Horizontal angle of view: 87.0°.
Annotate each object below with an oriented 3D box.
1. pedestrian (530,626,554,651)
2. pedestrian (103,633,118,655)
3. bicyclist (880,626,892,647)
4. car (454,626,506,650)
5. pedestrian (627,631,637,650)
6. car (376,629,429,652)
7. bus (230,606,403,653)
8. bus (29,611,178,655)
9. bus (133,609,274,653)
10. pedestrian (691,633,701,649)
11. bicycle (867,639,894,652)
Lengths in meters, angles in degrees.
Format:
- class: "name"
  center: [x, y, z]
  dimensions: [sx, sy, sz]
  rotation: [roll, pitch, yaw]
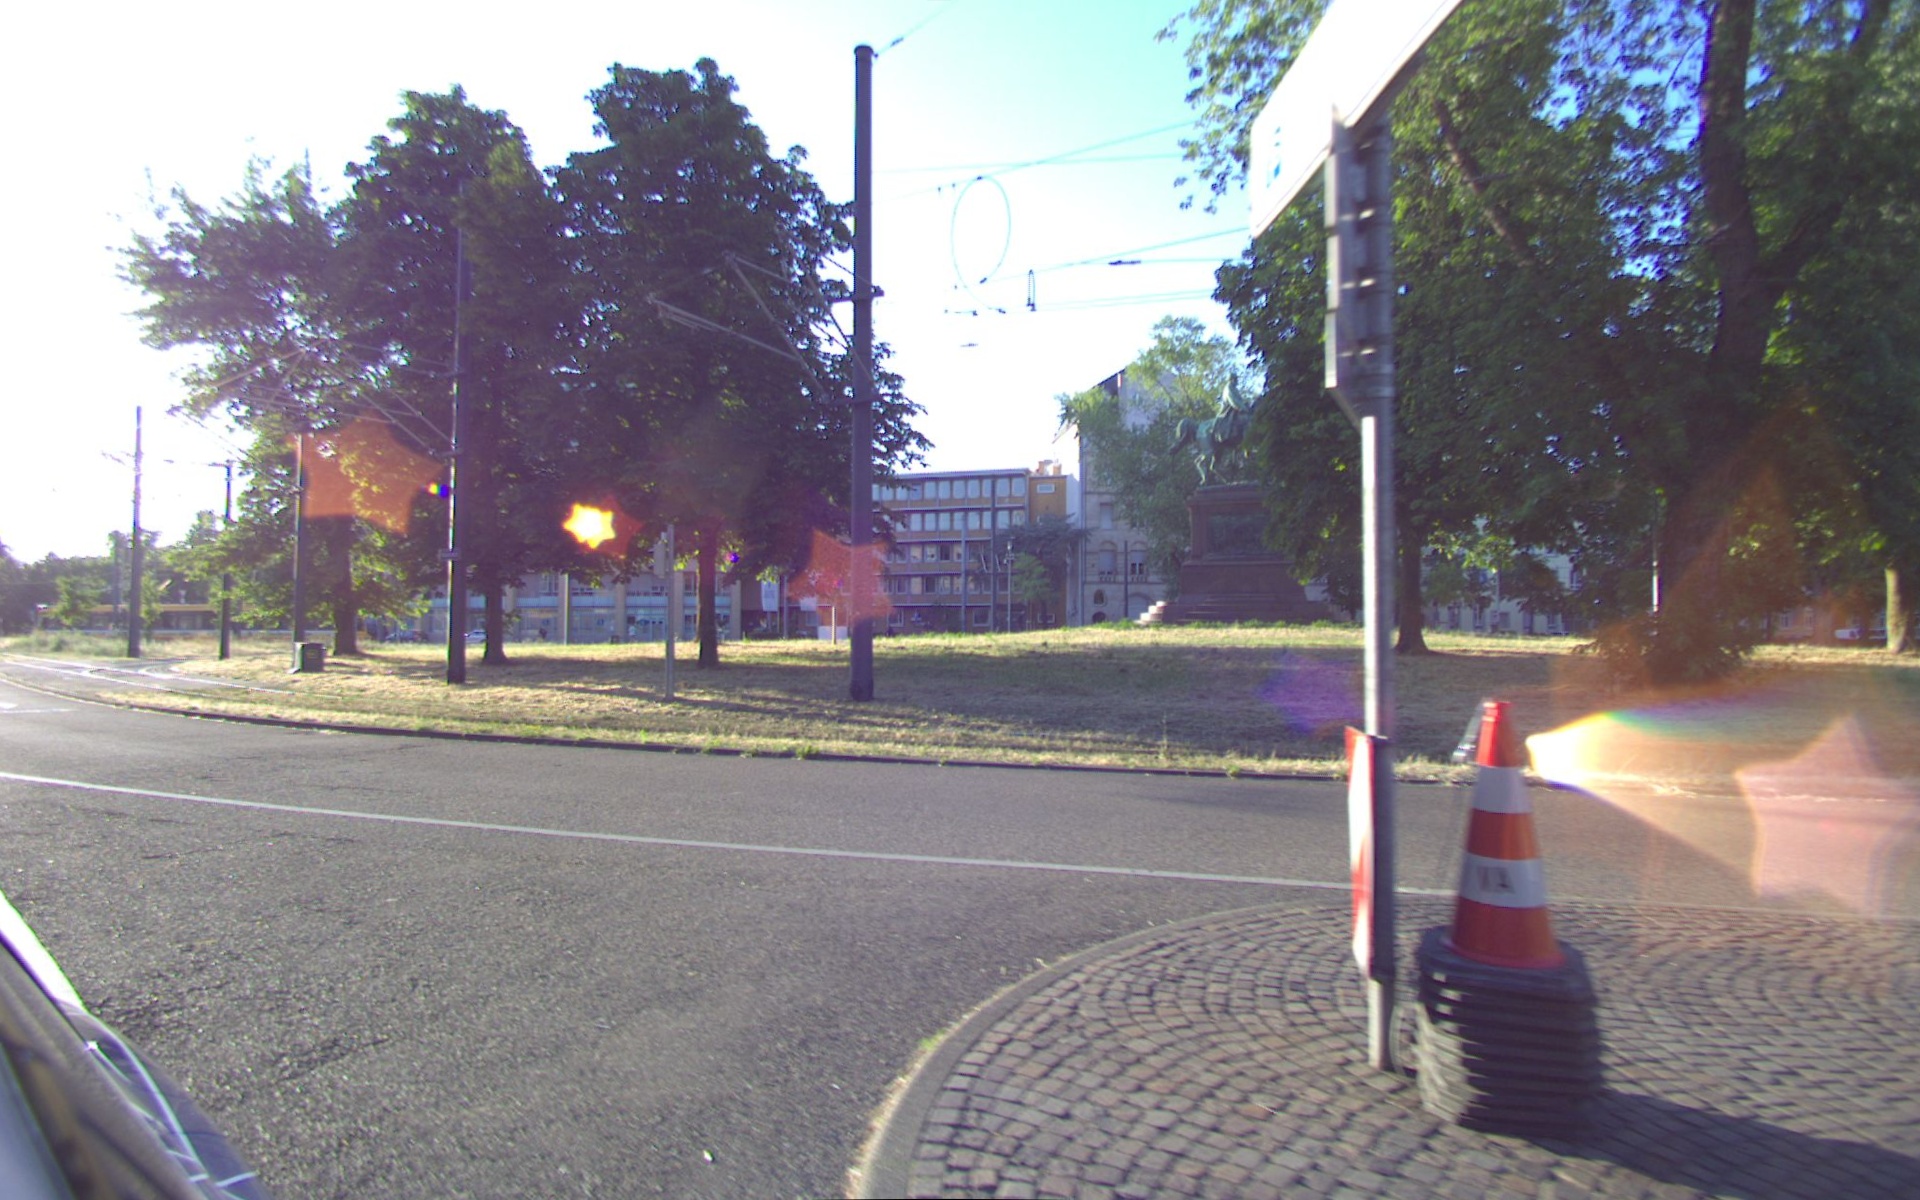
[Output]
- class: "pedestrian"
  center: [-35.953, 3.315, 86.979]
  dimensions: [1.619, 2.110, 1.054]
  rotation: [-2, -1, 16]
- class: "pedestrian"
  center: [-58.202, 3.003, 69.326]
  dimensions: [0.698, 1.470, 0.664]
  rotation: [-2, -2, 36]
- class: "bicyclist"
  center: [-6.045, 2.984, 82.681]
  dimensions: [0.884, 1.703, 0.954]
  rotation: [-1, -1, -5]
- class: "car"
  center: [-43.343, 3.433, 91.360]
  dimensions: [3.868, 2.029, 1.849]
  rotation: [-1, -1, 11]
- class: "pedestrian"
  center: [-29.446, 3.664, 90.810]
  dimensions: [0.614, 1.705, 0.527]
  rotation: [-2, -1, 23]
- class: "car"
  center: [-51.387, 3.719, 93.292]
  dimensions: [3.956, 2.029, 1.905]
  rotation: [-1, -1, 11]
- class: "bus"
  center: [-50.970, 2.333, 80.118]
  dimensions: [13.595, 3.388, 3.740]
  rotation: [-2, -1, 17]
- class: "bus"
  center: [-73.497, 2.850, 86.850]
  dimensions: [12.023, 3.482, 3.741]
  rotation: [-2, -1, 16]
- class: "bus"
  center: [-62.545, 2.594, 83.659]
  dimensions: [10.640, 3.356, 3.741]
  rotation: [-2, -1, 16]
- class: "pedestrian"
  center: [-23.220, 3.618, 88.936]
  dimensions: [0.676, 1.334, 0.565]
  rotation: [-1, -1, 11]
- class: "bicycle"
  center: [-6.475, 3.707, 82.642]
  dimensions: [2.167, 1.018, 0.473]
  rotation: [-2, -1, -6]
